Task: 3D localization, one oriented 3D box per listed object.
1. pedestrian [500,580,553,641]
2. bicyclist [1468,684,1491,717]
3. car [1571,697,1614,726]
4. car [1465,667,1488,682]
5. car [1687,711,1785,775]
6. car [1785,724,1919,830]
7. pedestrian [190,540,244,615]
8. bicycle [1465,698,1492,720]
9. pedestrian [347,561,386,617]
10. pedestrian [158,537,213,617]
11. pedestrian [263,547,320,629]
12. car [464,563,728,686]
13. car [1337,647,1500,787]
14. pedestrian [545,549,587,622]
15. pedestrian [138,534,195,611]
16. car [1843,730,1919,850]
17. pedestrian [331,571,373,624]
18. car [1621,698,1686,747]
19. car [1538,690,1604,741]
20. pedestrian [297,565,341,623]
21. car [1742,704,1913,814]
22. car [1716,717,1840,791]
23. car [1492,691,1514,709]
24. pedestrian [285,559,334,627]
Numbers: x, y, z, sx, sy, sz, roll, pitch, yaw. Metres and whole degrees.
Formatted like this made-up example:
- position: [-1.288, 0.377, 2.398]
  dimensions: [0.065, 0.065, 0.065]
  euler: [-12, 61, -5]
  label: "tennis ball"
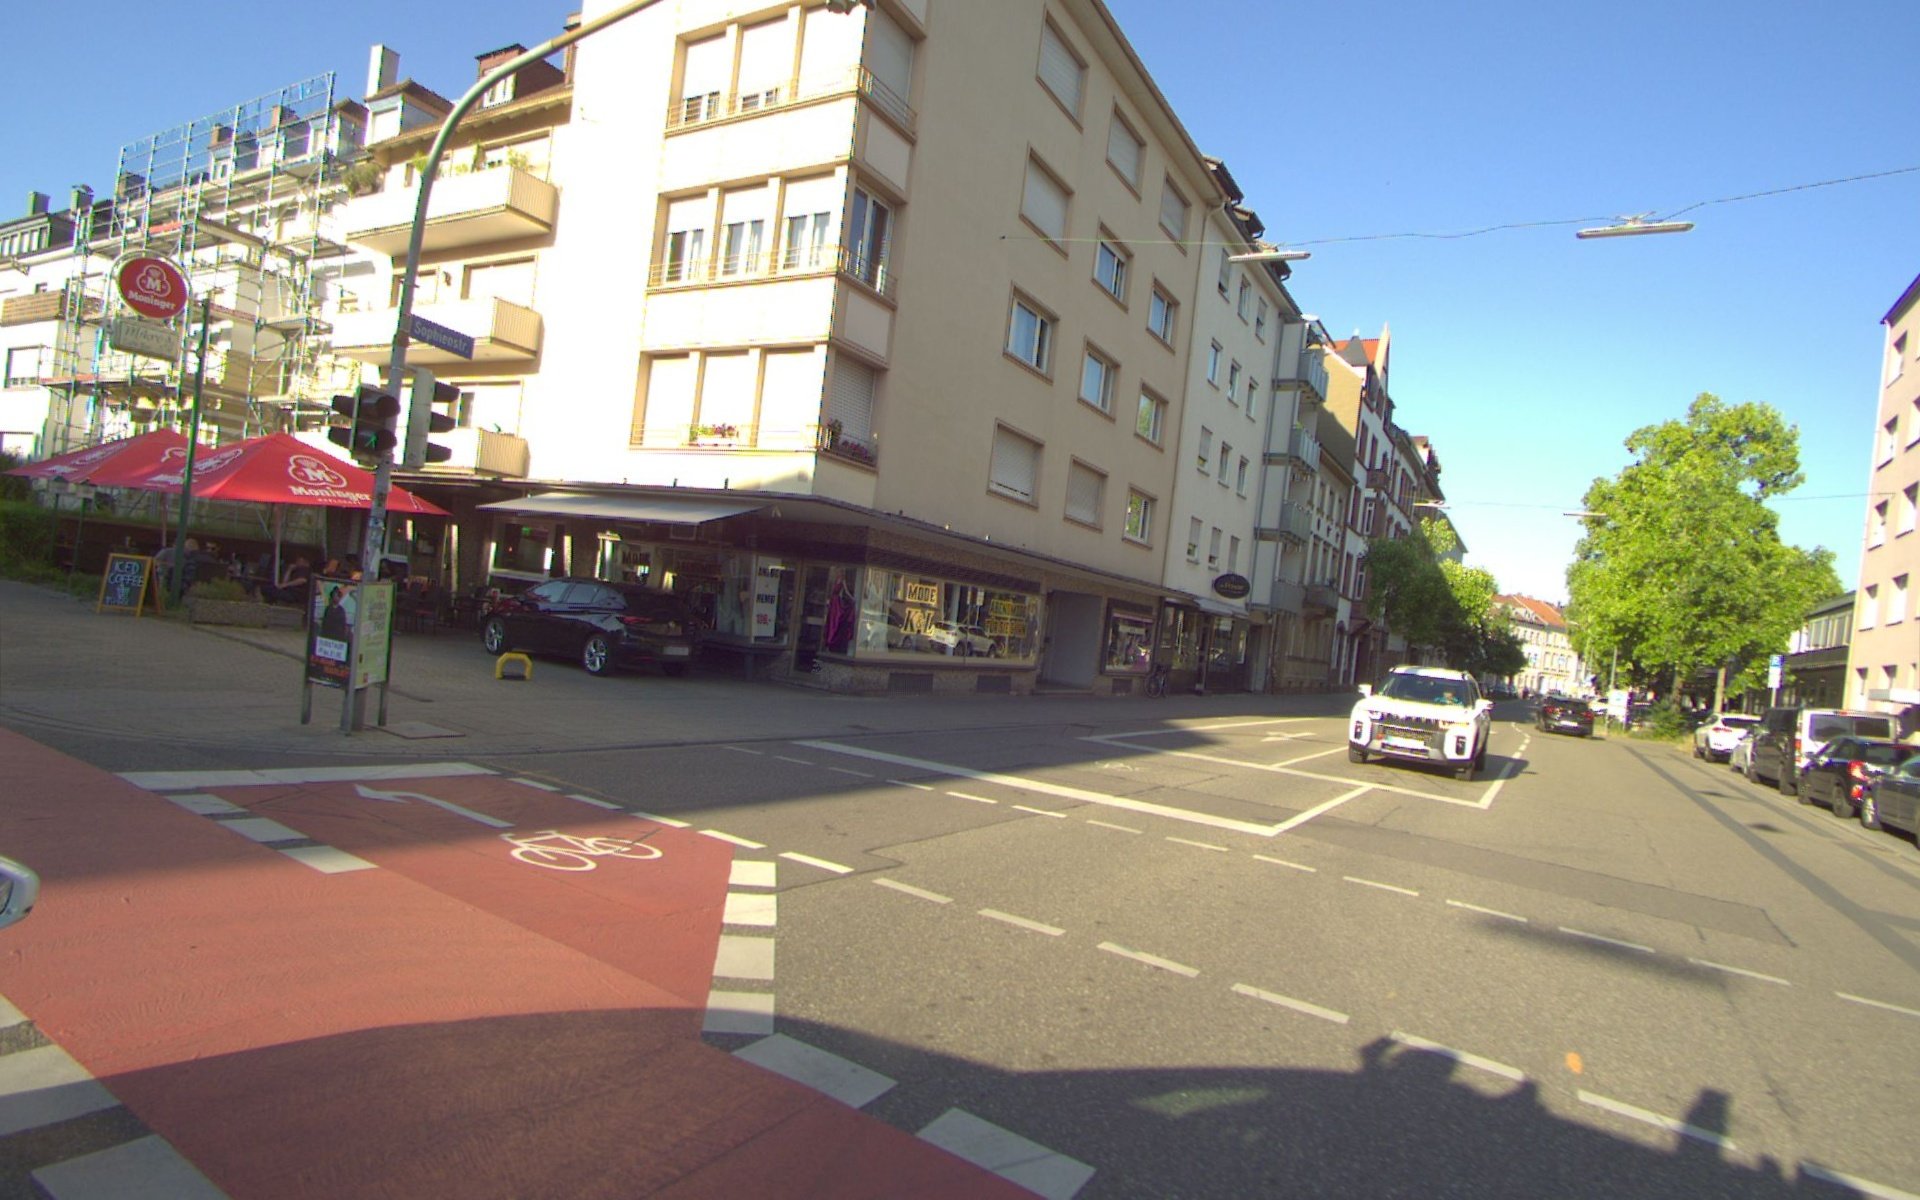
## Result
- position: [-9.008, 0.214, 20.919]
  dimensions: [0.709, 1.164, 0.609]
  euler: [6, -1, 34]
  label: "pedestrian"
- position: [25.542, 4.952, 49.423]
  dimensions: [0.733, 1.521, 0.880]
  euler: [6, 0, 37]
  label: "bicyclist"
- position: [42.900, 7.563, 68.237]
  dimensions: [1.924, 1.680, 4.340]
  euler: [6, -1, 38]
  label: "car"
- position: [71.271, 10.275, 138.740]
  dimensions: [1.924, 1.680, 4.340]
  euler: [6, -1, 38]
  label: "car"
- position: [26.042, 4.739, 33.898]
  dimensions: [1.920, 1.680, 4.349]
  euler: [6, -1, 30]
  label: "car"
- position: [17.334, 3.296, 19.019]
  dimensions: [1.920, 1.559, 4.286]
  euler: [5, -2, 30]
  label: "car"
- position: [-12.375, -0.374, 16.765]
  dimensions: [0.518, 1.164, 0.486]
  euler: [6, -1, 36]
  label: "pedestrian"
- position: [25.464, 5.359, 49.386]
  dimensions: [0.733, 0.932, 2.392]
  euler: [6, -1, 36]
  label: "bicycle"
- position: [-13.322, -0.243, 22.579]
  dimensions: [0.407, 1.202, 0.524]
  euler: [4, -2, 37]
  label: "pedestrian"
- position: [-12.026, -0.357, 15.629]
  dimensions: [0.622, 1.164, 0.412]
  euler: [6, -1, 36]
  label: "pedestrian"
- position: [-11.366, -0.205, 17.097]
  dimensions: [0.532, 1.298, 0.524]
  euler: [6, -1, 34]
  label: "pedestrian"
- position: [-6.043, 0.382, 16.579]
  dimensions: [4.135, 1.502, 1.831]
  euler: [6, -1, 32]
  label: "car"
- position: [7.983, 1.940, 17.268]
  dimensions: [1.921, 1.860, 4.348]
  euler: [6, -1, 31]
  label: "car"
- position: [-10.180, -0.367, 25.991]
  dimensions: [0.673, 1.796, 0.525]
  euler: [6, -1, 32]
  label: "pedestrian"
- position: [-12.788, -0.440, 16.209]
  dimensions: [0.518, 1.164, 0.493]
  euler: [6, -1, 36]
  label: "pedestrian"
- position: [14.987, 2.896, 14.818]
  dimensions: [1.920, 1.559, 4.617]
  euler: [5, -2, 29]
  label: "car"
- position: [-12.225, -0.049, 20.232]
  dimensions: [0.407, 1.002, 0.524]
  euler: [6, -1, 37]
  label: "pedestrian"
- position: [31.637, 5.562, 46.003]
  dimensions: [1.920, 1.860, 4.349]
  euler: [6, -1, 30]
  label: "car"
- position: [24.653, 4.640, 40.516]
  dimensions: [1.922, 1.680, 4.344]
  euler: [6, -1, 35]
  label: "car"
- position: [-12.582, -0.107, 19.756]
  dimensions: [0.407, 1.061, 0.524]
  euler: [6, -1, 37]
  label: "pedestrian"
- position: [19.757, 3.516, 23.181]
  dimensions: [1.920, 1.929, 5.070]
  euler: [6, -1, 30]
  label: "car"
- position: [22.583, 4.188, 27.944]
  dimensions: [1.920, 1.559, 4.286]
  euler: [5, -2, 30]
  label: "car"
- position: [57.231, 10.524, 106.051]
  dimensions: [1.624, 1.578, 3.653]
  euler: [6, -1, 26]
  label: "car"
- position: [-11.754, -0.122, 18.179]
  dimensions: [0.407, 1.164, 0.524]
  euler: [6, -1, 37]
  label: "pedestrian"
